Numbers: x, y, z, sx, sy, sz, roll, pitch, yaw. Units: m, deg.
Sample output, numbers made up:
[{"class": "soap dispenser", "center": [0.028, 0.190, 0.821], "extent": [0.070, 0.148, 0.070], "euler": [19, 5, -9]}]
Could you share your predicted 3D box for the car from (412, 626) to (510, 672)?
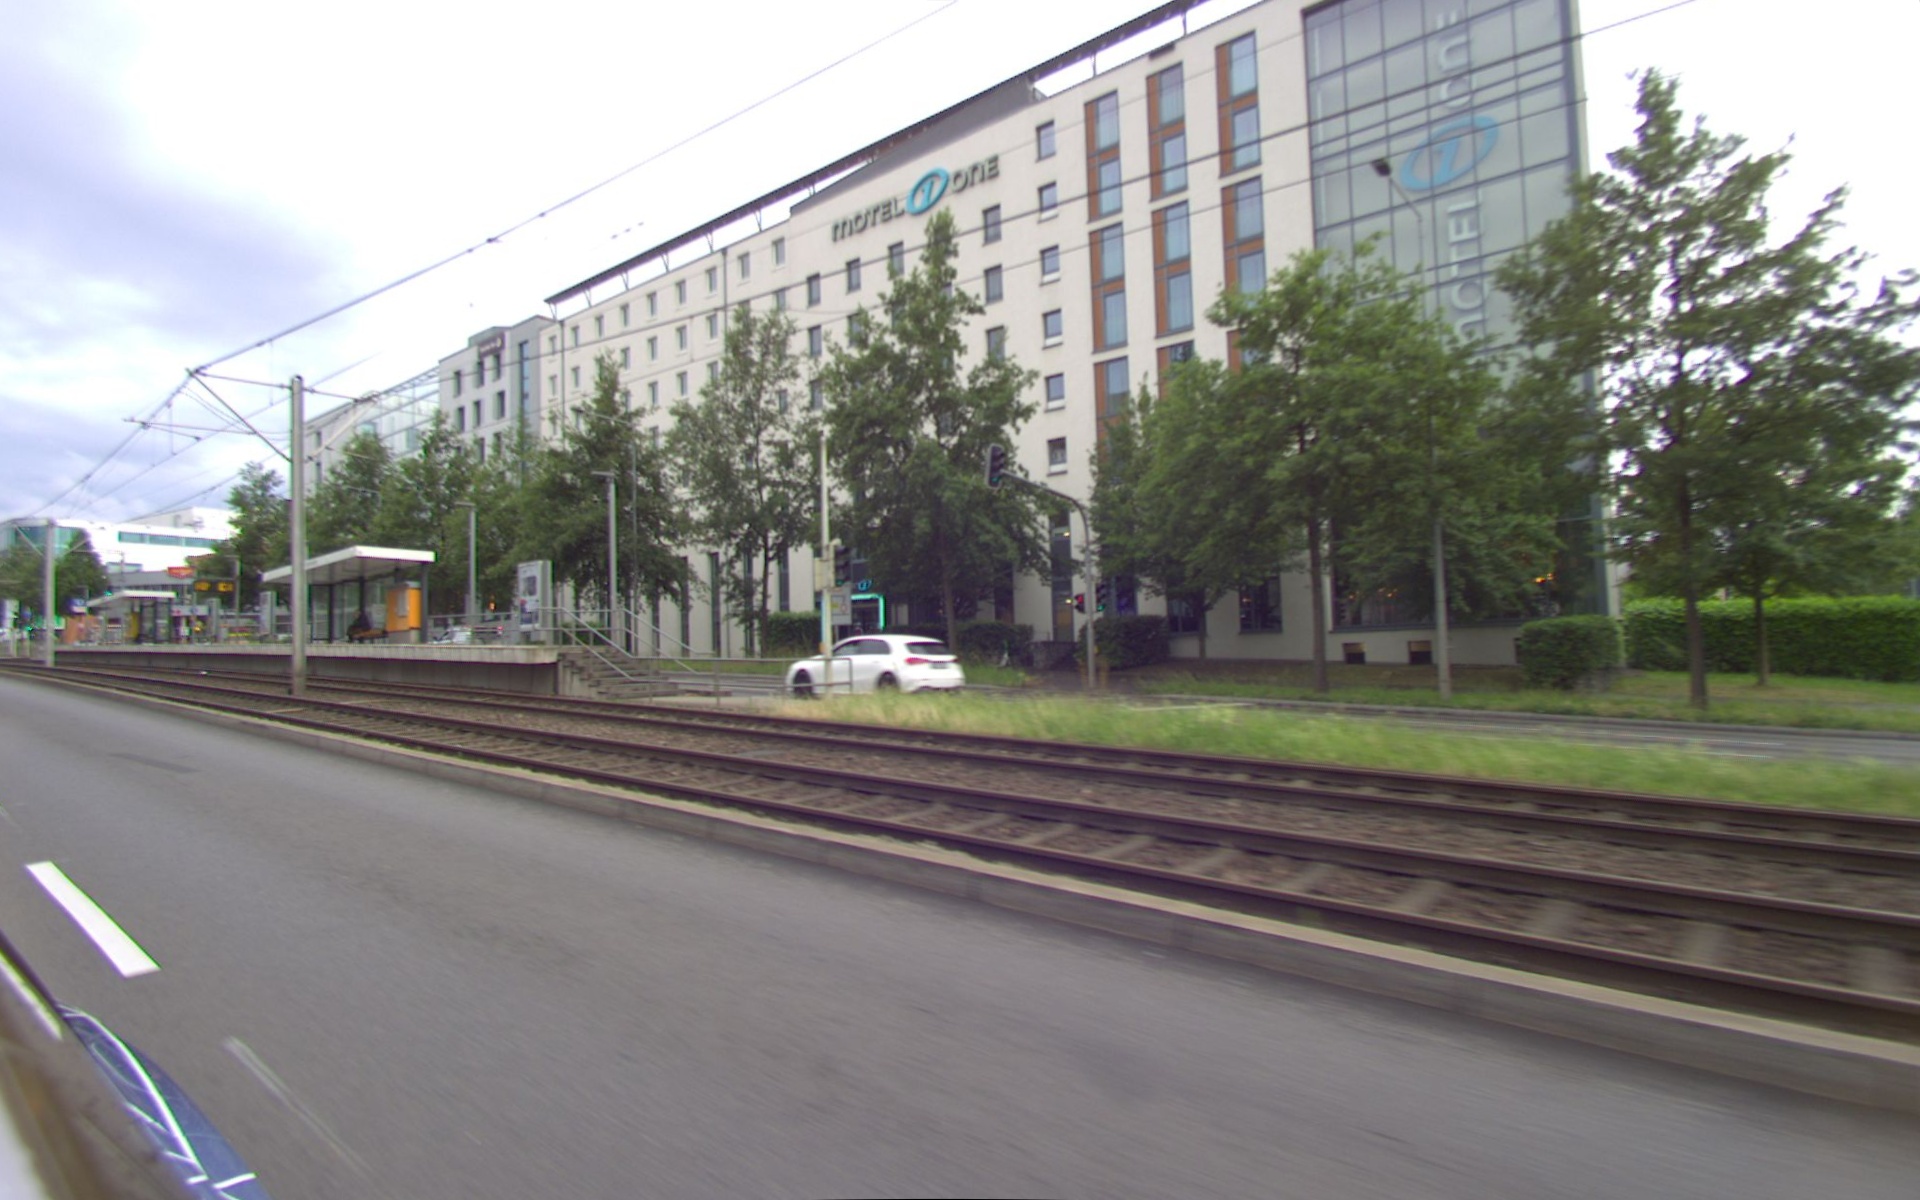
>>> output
[{"class": "car", "center": [-21.642, 2.128, 43.831], "extent": [4.998, 1.861, 1.973], "euler": [-2, -4, 41]}]

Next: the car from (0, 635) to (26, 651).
[{"class": "car", "center": [-161.417, 7.247, 170.589], "extent": [2.261, 2.649, 5.449], "euler": [-1, 0, 19]}]

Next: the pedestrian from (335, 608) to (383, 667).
[{"class": "pedestrian", "center": [-21.356, 1.328, 35.961], "extent": [1.270, 2.029, 1.115], "euler": [-1, -1, 41]}]

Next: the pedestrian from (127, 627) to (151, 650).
[{"class": "pedestrian", "center": [-48.776, 2.282, 60.109], "extent": [0.683, 1.310, 0.952], "euler": [-2, -3, 38]}]

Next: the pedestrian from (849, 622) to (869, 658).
[{"class": "pedestrian", "center": [-4.576, 1.795, 45.899], "extent": [0.821, 1.589, 0.603], "euler": [-1, -1, -12]}]

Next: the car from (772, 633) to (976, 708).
[{"class": "car", "center": [-1.923, 1.469, 21.832], "extent": [4.426, 1.455, 1.818], "euler": [-2, -4, 41]}]
